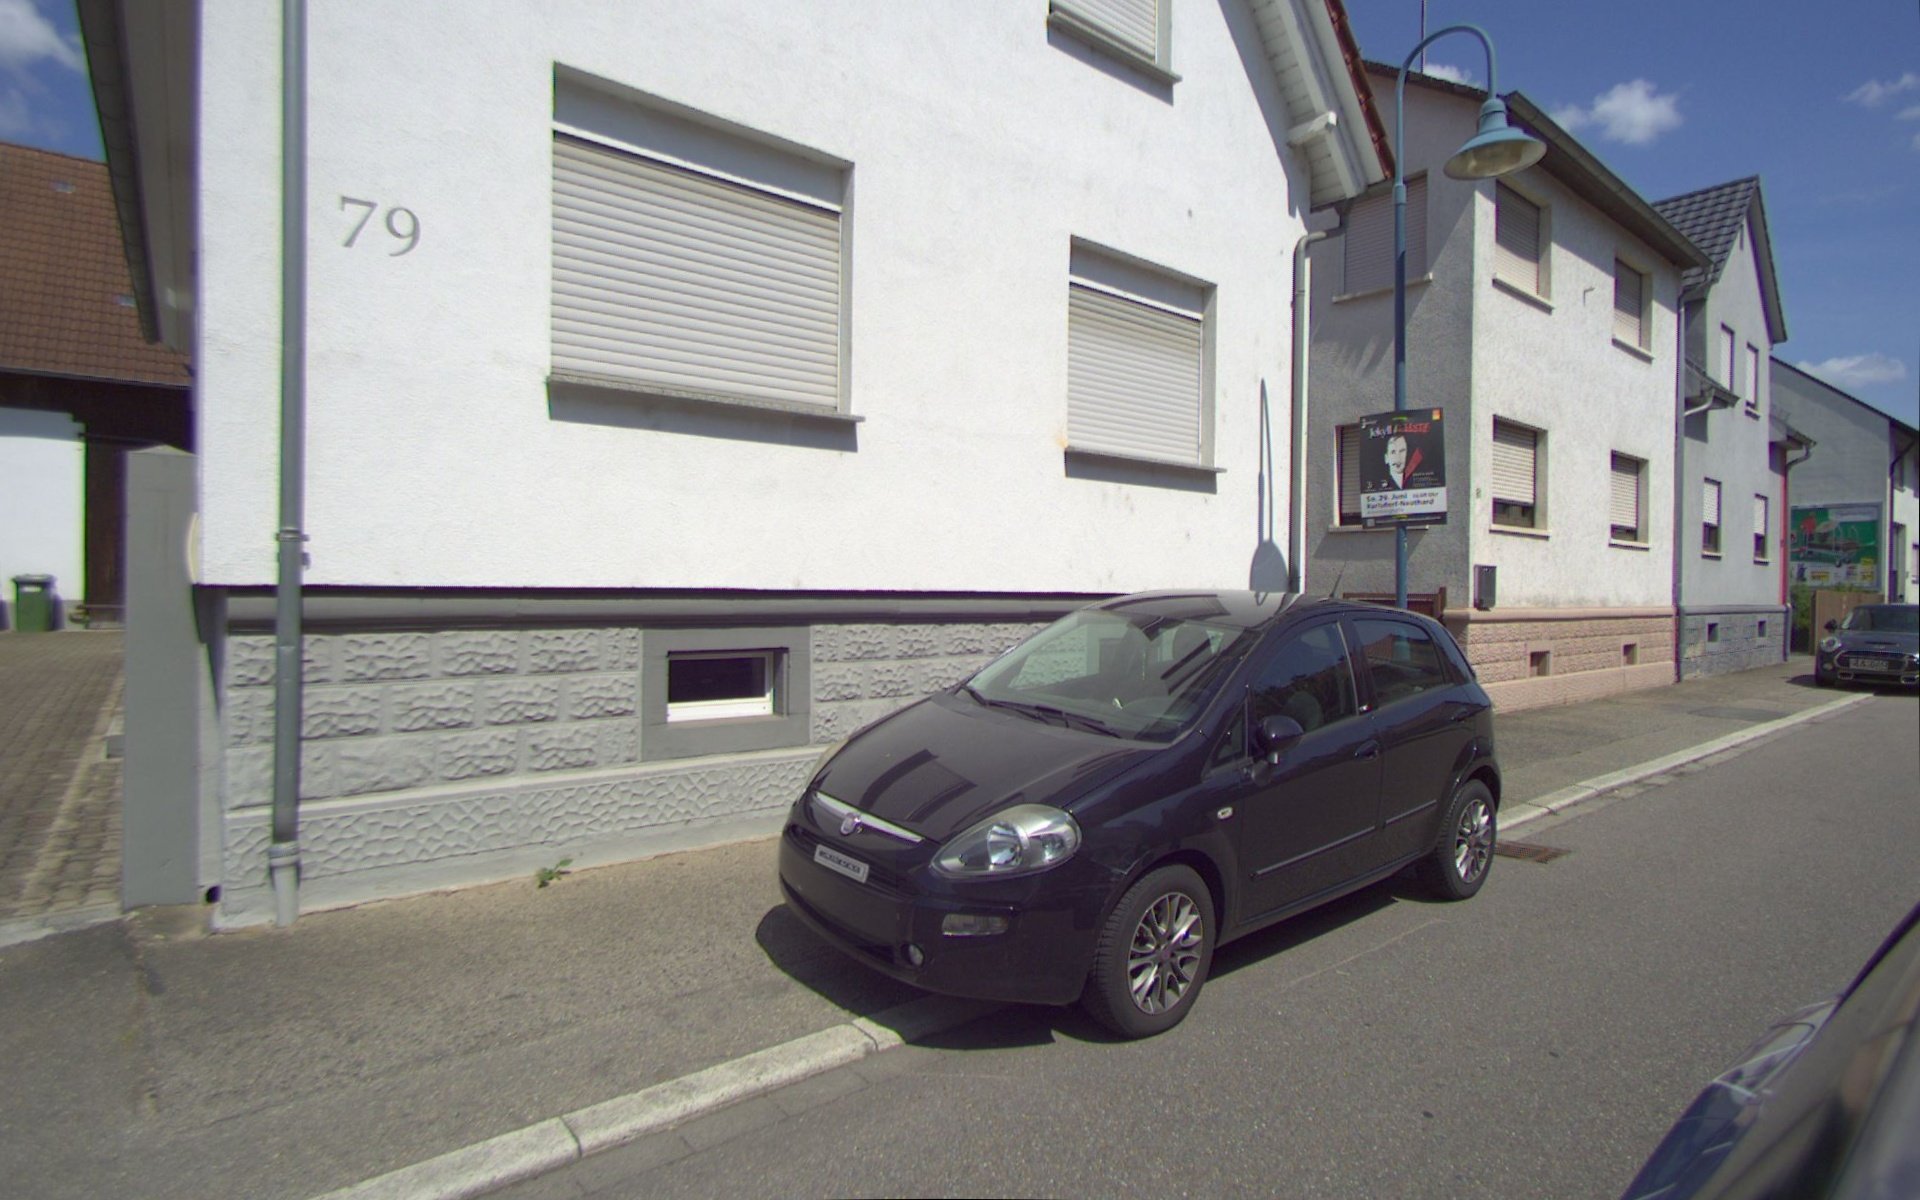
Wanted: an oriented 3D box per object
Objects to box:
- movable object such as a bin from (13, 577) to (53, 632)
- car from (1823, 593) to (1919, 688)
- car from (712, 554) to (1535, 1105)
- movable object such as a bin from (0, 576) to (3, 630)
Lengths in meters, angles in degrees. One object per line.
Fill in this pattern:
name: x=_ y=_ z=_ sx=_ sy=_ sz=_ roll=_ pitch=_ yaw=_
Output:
movable object such as a bin: x=-17.366 y=0.074 z=18.970 sx=0.466 sy=1.015 sz=0.662 roll=0 pitch=0 yaw=-34
car: x=16.002 y=0.622 z=17.031 sx=3.592 sy=1.440 sz=1.692 roll=0 pitch=1 yaw=-40
car: x=1.016 y=0.618 z=4.730 sx=3.901 sy=1.514 sz=1.621 roll=0 pitch=3 yaw=-40
movable object such as a bin: x=-17.990 y=0.057 z=18.617 sx=0.466 sy=1.015 sz=0.559 roll=0 pitch=0 yaw=-34
